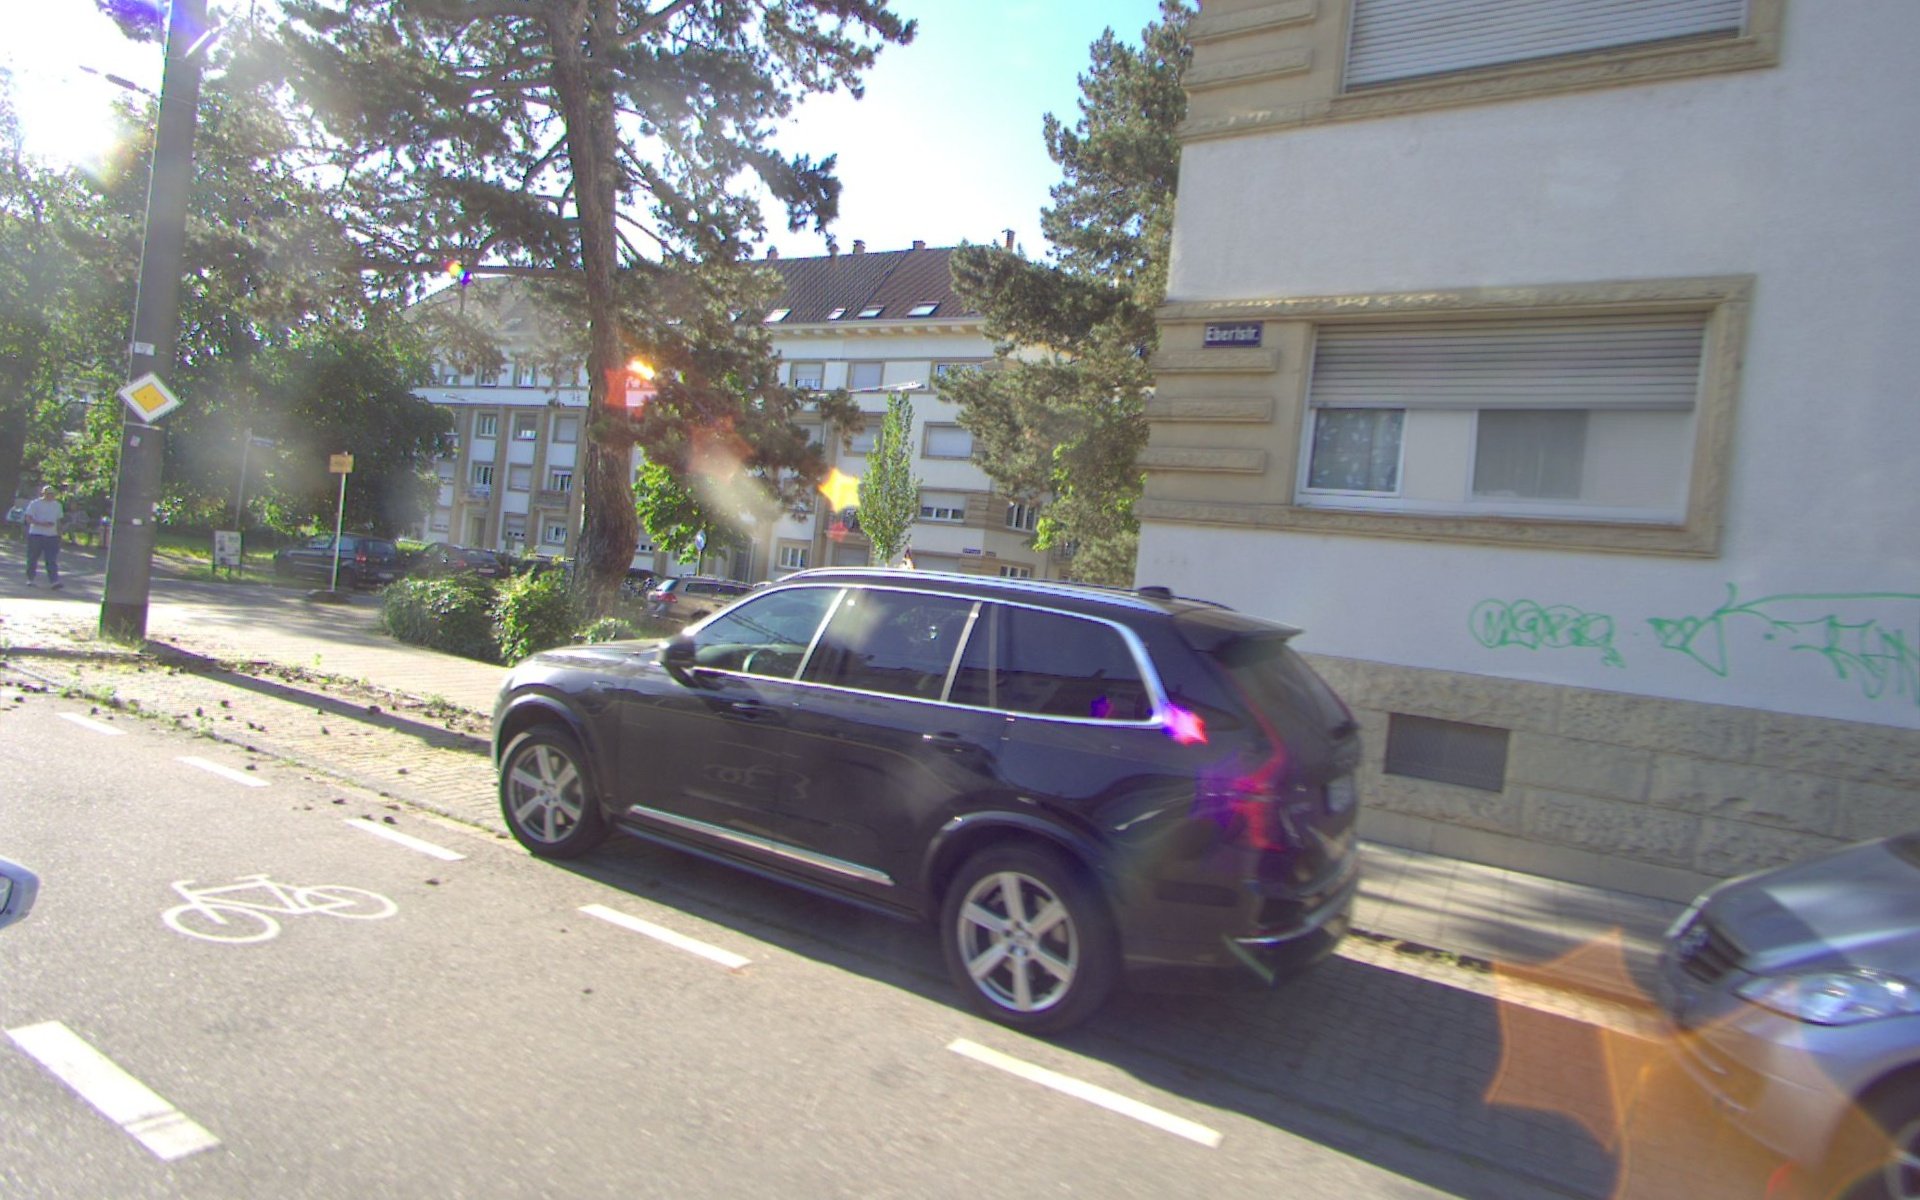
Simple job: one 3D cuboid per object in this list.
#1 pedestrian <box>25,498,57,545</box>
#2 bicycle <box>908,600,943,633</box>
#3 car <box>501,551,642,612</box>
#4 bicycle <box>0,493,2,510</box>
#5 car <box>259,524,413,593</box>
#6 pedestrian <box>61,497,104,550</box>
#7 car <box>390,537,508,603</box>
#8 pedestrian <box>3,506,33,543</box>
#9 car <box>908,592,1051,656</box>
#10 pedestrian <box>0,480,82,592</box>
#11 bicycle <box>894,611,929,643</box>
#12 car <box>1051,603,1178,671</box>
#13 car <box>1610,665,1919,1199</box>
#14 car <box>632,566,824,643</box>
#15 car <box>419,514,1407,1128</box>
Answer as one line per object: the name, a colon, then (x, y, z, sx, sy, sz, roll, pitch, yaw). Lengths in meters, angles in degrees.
pedestrian: (-25.905, -2.192, 28.371, 0.401, 1.240, 0.754, 8, -2, -33)
bicycle: (-1.481, 0.748, 43.883, 0.586, 1.202, 2.063, 7, -3, 23)
car: (-12.365, -0.590, 31.979, 4.165, 1.459, 1.639, 7, 1, 25)
bicycle: (-69.052, -7.027, 70.610, 0.598, 1.415, 2.477, 7, -3, 29)
car: (-17.781, -1.168, 28.683, 3.737, 1.513, 1.640, 7, 1, 19)
pedestrian: (-25.172, -2.185, 28.858, 0.681, 1.389, 0.749, 9, -2, -33)
car: (-15.523, -0.919, 30.522, 3.747, 1.592, 1.452, 7, 1, 34)
pedestrian: (-26.224, -2.100, 28.017, 0.401, 0.945, 0.617, 9, 0, -33)
car: (0.598, 0.732, 29.691, 3.876, 1.488, 1.752, 6, 1, -37)
pedestrian: (-15.591, -1.073, 17.005, 0.713, 1.744, 0.880, 7, 1, 35)
bicycle: (-2.109, 1.199, 44.059, 0.586, 1.202, 2.063, 7, -3, 23)
car: (5.096, 1.234, 33.036, 3.879, 1.732, 1.752, 8, 0, -37)
car: (4.302, 1.249, 2.856, 3.828, 1.600, 1.595, 6, 2, 27)
car: (-5.753, 0.146, 25.183, 4.266, 1.519, 1.753, 6, -3, -37)
car: (-0.487, 0.627, 5.272, 4.851, 1.740, 1.879, 6, 3, 31)
